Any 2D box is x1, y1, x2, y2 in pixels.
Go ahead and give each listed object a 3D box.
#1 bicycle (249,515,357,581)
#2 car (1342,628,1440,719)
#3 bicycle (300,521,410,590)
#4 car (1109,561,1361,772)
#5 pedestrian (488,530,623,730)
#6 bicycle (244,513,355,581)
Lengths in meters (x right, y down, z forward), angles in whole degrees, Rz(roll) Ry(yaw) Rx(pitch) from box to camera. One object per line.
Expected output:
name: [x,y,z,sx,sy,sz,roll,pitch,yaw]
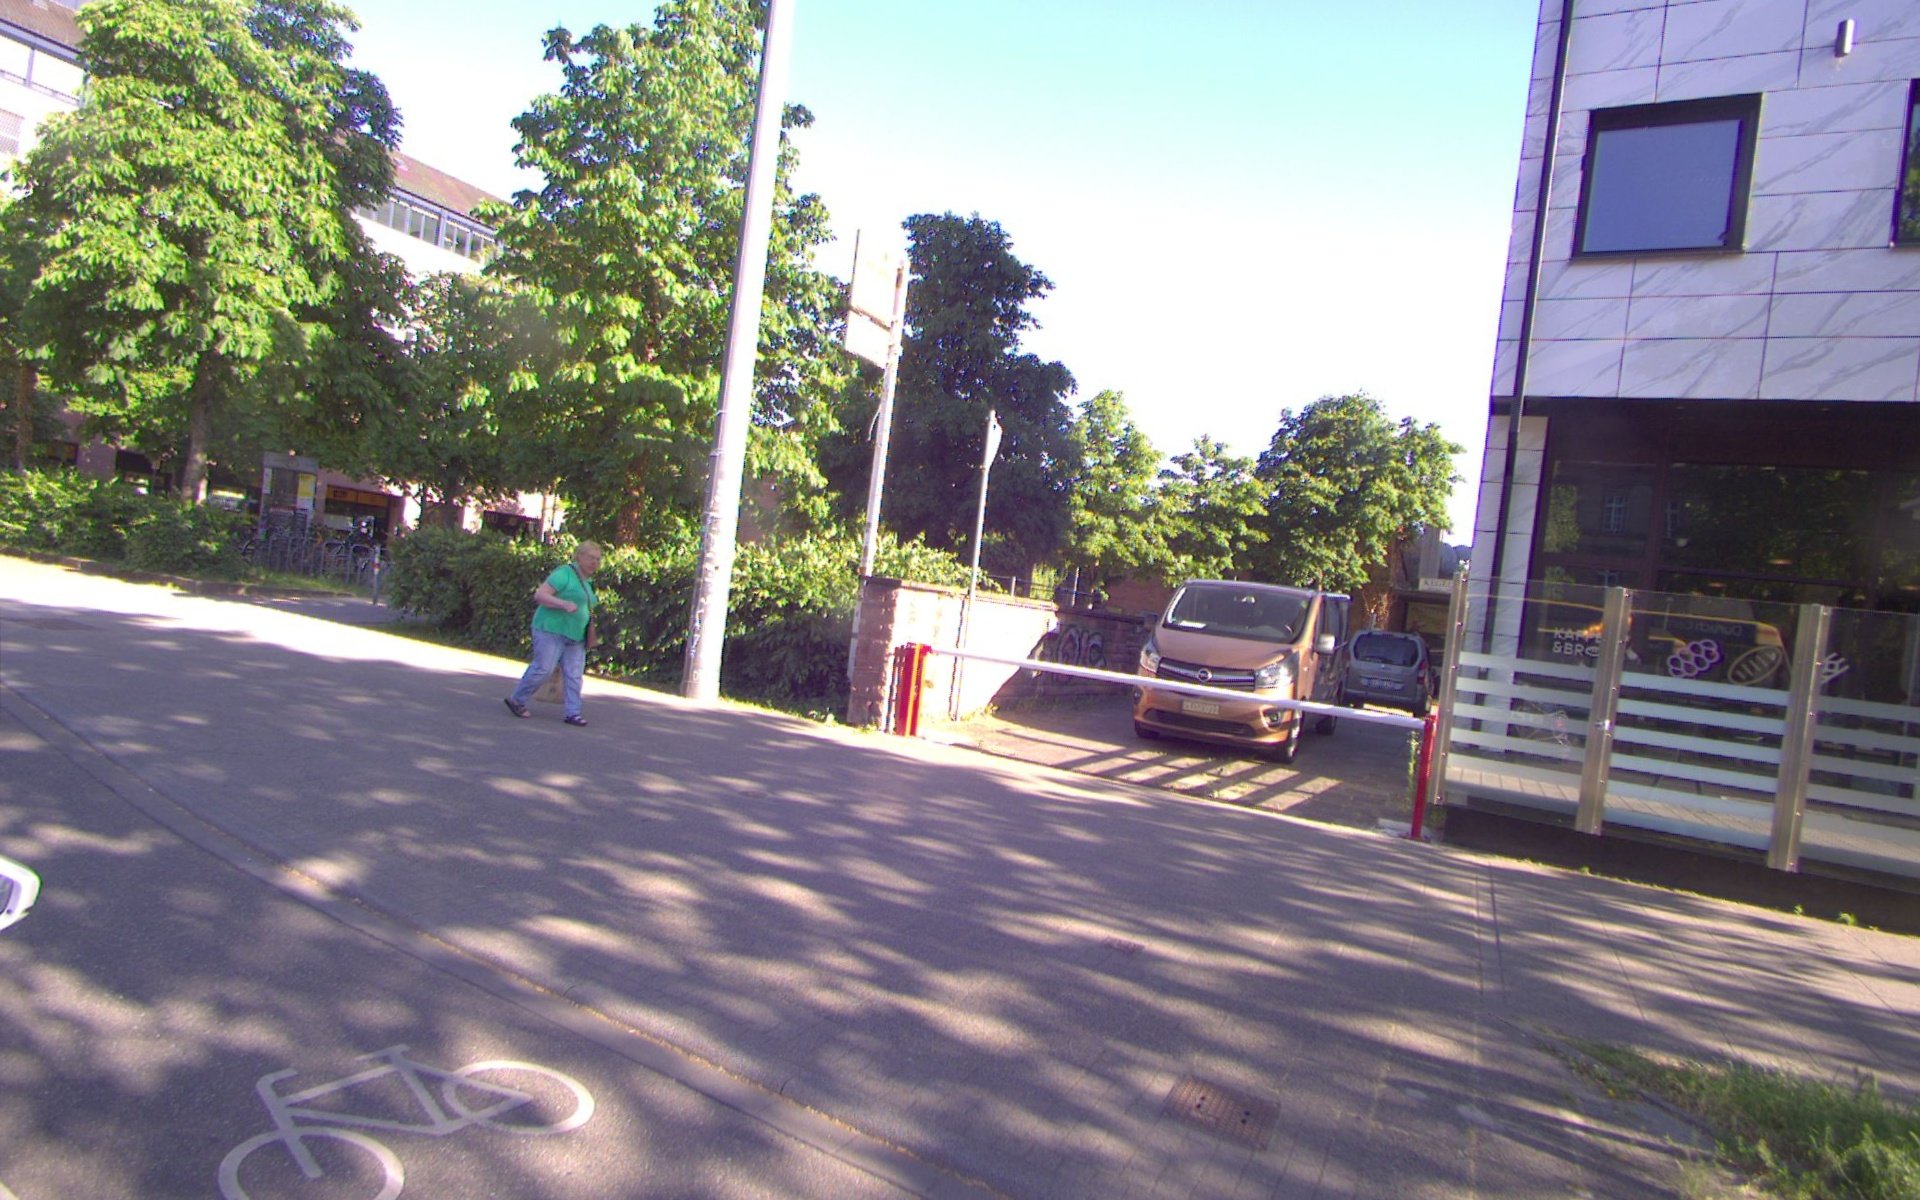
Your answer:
bicycle: [-15.330,-1.186,23.544,0.564,1.331,1.998,7,1,30]
car: [9.726,1.626,22.577,1.567,1.692,3.616,7,0,28]
bicycle: [-13.378,-0.955,22.305,0.564,1.331,1.998,7,1,30]
car: [3.727,0.718,12.859,1.880,2.011,4.901,7,2,28]
pedestrian: [-3.490,0.255,8.754,0.818,1.595,0.737,6,1,-11]
bicycle: [-15.002,-1.177,22.903,0.564,1.331,1.998,7,1,30]
